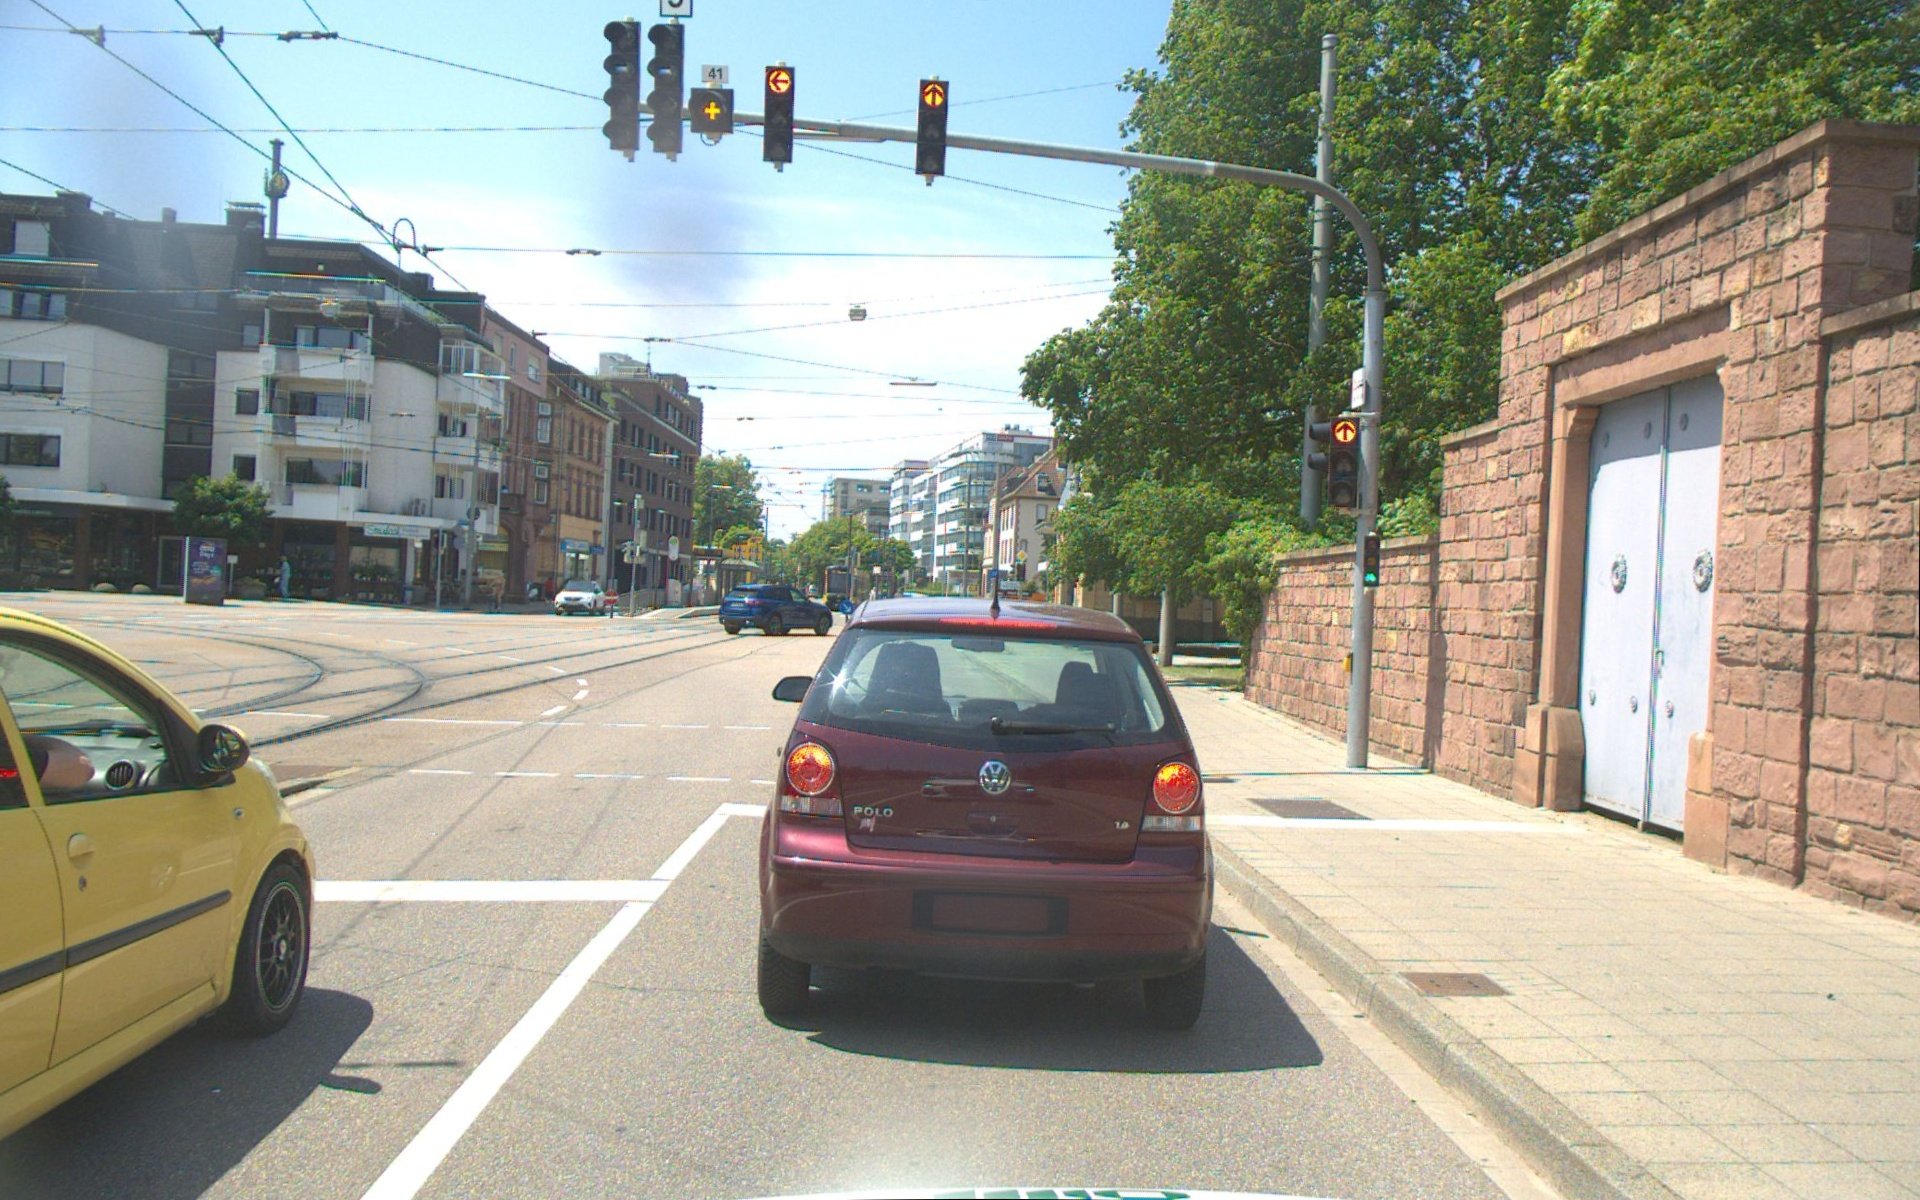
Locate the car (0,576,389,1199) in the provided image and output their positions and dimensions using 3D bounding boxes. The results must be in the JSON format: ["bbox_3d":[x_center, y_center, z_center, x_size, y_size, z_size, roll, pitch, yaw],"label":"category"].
[{"bbox_3d":[-2.897,0.674,4.402,1.583,1.446,3.654,0,0,-2],"label":"car"}]

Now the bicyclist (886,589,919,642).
[{"bbox_3d":[-1.980,0.523,57.048,0.713,1.791,0.923,2,0,27],"label":"bicyclist"}]

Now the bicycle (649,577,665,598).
[{"bbox_3d":[-20.461,-0.862,111.724,0.663,1.327,2.104,3,1,-2],"label":"bicycle"}]

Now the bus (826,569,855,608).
[{"bbox_3d":[-9.740,-0.947,134.850,2.189,3.055,6.588,2,0,-4],"label":"bus"}]

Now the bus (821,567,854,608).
[{"bbox_3d":[-9.453,-0.963,128.294,2.101,3.055,6.571,2,0,-1],"label":"bus"}]

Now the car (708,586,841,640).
[{"bbox_3d":[-6.165,0.458,55.464,1.958,1.653,4.618,2,0,33],"label":"car"}]

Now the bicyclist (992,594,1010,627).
[{"bbox_3d":[2.104,0.552,84.792,0.815,1.646,0.860,-1,2,-2],"label":"bicyclist"}]

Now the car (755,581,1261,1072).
[{"bbox_3d":[0.106,0.708,6.702,1.530,1.479,3.060,2,0,-2],"label":"car"}]

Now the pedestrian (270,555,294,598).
[{"bbox_3d":[-27.988,-0.957,68.281,0.793,1.726,0.697,2,0,-20],"label":"pedestrian"}]

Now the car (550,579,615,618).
[{"bbox_3d":[-16.823,-0.075,73.919,1.953,1.580,4.138,2,0,-1],"label":"car"}]

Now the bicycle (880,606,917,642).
[{"bbox_3d":[-2.098,0.813,56.839,0.368,1.218,1.903,2,0,27],"label":"bicycle"}]

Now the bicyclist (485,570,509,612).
[{"bbox_3d":[-20.165,-0.397,71.998,0.680,1.796,1.137,2,1,-2],"label":"bicyclist"}]

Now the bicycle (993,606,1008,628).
[{"bbox_3d":[2.088,0.861,84.769,0.655,1.020,1.863,-1,2,-2],"label":"bicycle"}]

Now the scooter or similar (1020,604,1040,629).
[{"bbox_3d":[3.565,0.844,84.149,0.335,1.198,1.456,2,0,-25],"label":"scooter or similar"}]

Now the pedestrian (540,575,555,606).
[{"bbox_3d":[-22.043,-0.509,88.375,0.602,1.588,0.640,2,0,-2],"label":"pedestrian"}]

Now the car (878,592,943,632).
[{"bbox_3d":[-2.053,0.501,69.701,1.784,1.556,4.003,2,0,12],"label":"car"}]

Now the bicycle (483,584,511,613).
[{"bbox_3d":[-20.173,-0.075,72.046,0.680,1.169,1.931,2,1,-2],"label":"bicycle"}]

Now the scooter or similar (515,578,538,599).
[{"bbox_3d":[-23.931,-0.622,91.411,0.477,1.101,1.578,2,0,15],"label":"scooter or similar"}]

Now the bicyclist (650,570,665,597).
[{"bbox_3d":[-20.435,-1.144,111.791,0.717,1.793,1.134,3,1,-2],"label":"bicyclist"}]
